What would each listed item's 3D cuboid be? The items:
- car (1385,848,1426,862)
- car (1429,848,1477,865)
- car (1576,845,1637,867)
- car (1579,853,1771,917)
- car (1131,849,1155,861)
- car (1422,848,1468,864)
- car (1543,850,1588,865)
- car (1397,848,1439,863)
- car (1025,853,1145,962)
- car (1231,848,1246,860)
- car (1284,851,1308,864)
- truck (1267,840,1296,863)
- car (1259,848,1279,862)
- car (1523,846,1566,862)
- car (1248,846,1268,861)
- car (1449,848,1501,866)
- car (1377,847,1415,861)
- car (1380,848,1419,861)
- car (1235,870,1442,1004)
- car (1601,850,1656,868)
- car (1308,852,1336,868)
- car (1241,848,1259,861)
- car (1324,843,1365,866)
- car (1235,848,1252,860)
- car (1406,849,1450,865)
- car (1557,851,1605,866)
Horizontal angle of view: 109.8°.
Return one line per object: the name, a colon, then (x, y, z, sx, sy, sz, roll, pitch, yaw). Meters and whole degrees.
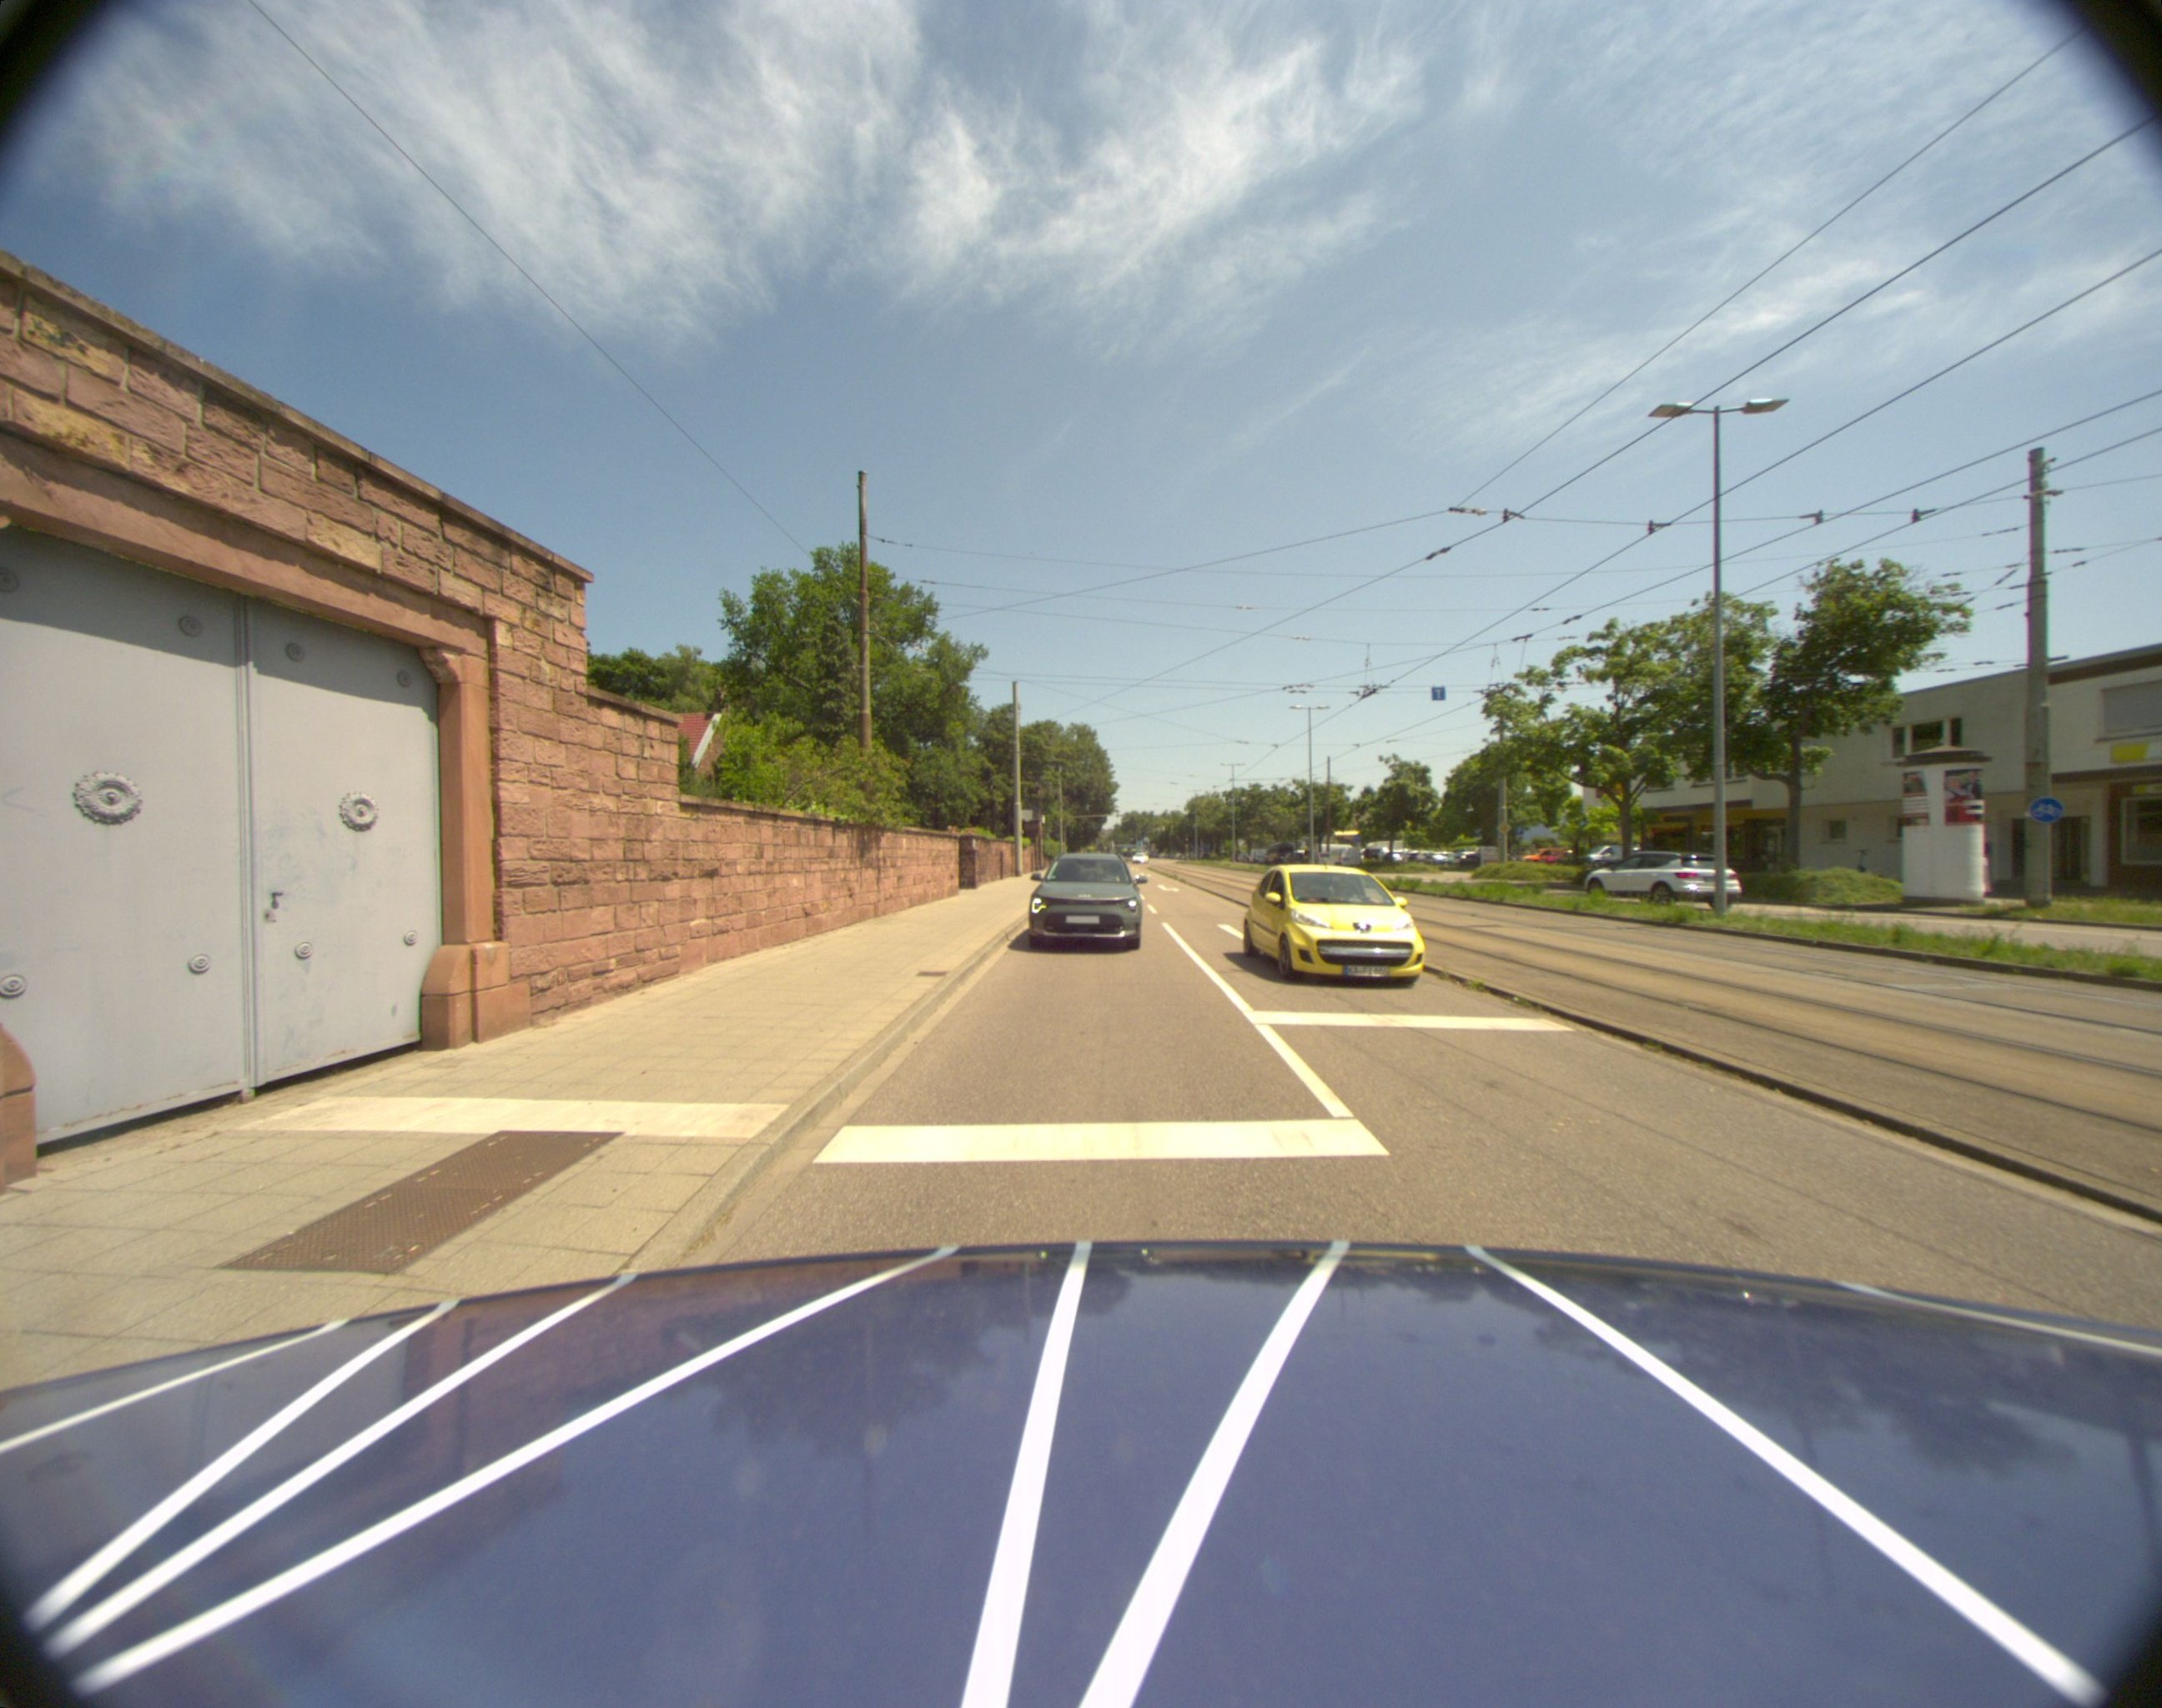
car: (32.540, 0.080, 76.185, 3.414, 1.386, 1.603, 0, 1, -3)
car: (32.226, 0.216, 65.887, 3.414, 1.482, 1.598, 0, 1, -3)
car: (45.012, 0.161, 65.093, 3.997, 1.774, 1.813, 0, 1, -1)
car: (16.406, 0.776, 21.310, 1.999, 1.544, 4.138, 2, 0, -2)
car: (8.734, 0.174, 107.057, 1.995, 1.652, 4.007, 0, 1, 26)
car: (32.711, 0.190, 68.287, 3.414, 1.386, 1.603, 0, 1, -3)
car: (46.414, 0.306, 72.861, 3.355, 1.450, 1.506, 0, 1, -1)
car: (32.724, 0.116, 73.772, 3.414, 1.386, 1.603, 0, 1, -3)
car: (0.140, 0.804, 13.604, 1.789, 1.561, 4.184, 1, 1, 2)
car: (24.344, -0.009, 117.647, 1.681, 1.693, 3.823, 0, 0, 1)
car: (22.753, 0.370, 80.440, 1.674, 1.378, 3.670, 0, 0, 4)
truck: (22.762, -0.305, 86.581, 2.225, 2.526, 4.929, 0, 0, 2)
car: (23.524, 0.090, 95.082, 1.681, 1.783, 3.869, 0, 0, 1)
car: (45.982, 0.014, 75.406, 3.355, 1.552, 1.506, 0, 1, -1)
car: (23.336, -0.034, 100.281, 1.681, 1.963, 4.509, 0, 0, 1)
car: (32.935, 0.228, 63.518, 3.414, 1.482, 1.793, 0, 1, -3)
car: (33.815, 0.031, 81.621, 3.414, 1.497, 1.603, 0, 1, -3)
car: (33.152, 0.053, 79.064, 3.414, 1.386, 1.603, 0, 1, -3)
car: (3.265, 0.972, 10.378, 1.620, 1.412, 3.656, 2, 0, 1)
car: (45.180, 0.403, 62.735, 3.492, 1.528, 1.534, 0, 1, -1)
car: (22.281, 0.521, 70.348, 1.674, 1.378, 3.569, 0, 0, 4)
car: (23.508, 0.018, 105.805, 1.681, 1.783, 4.203, 0, 0, 1)
car: (22.118, 0.057, 64.007, 1.998, 1.872, 4.662, 0, 0, 2)
car: (23.665, -0.014, 110.771, 1.681, 1.783, 4.203, 0, 0, 1)
car: (32.211, 0.270, 70.564, 3.414, 1.386, 1.603, 0, 1, -3)
car: (45.932, 0.398, 69.823, 3.355, 1.381, 1.506, 0, 1, -1)
